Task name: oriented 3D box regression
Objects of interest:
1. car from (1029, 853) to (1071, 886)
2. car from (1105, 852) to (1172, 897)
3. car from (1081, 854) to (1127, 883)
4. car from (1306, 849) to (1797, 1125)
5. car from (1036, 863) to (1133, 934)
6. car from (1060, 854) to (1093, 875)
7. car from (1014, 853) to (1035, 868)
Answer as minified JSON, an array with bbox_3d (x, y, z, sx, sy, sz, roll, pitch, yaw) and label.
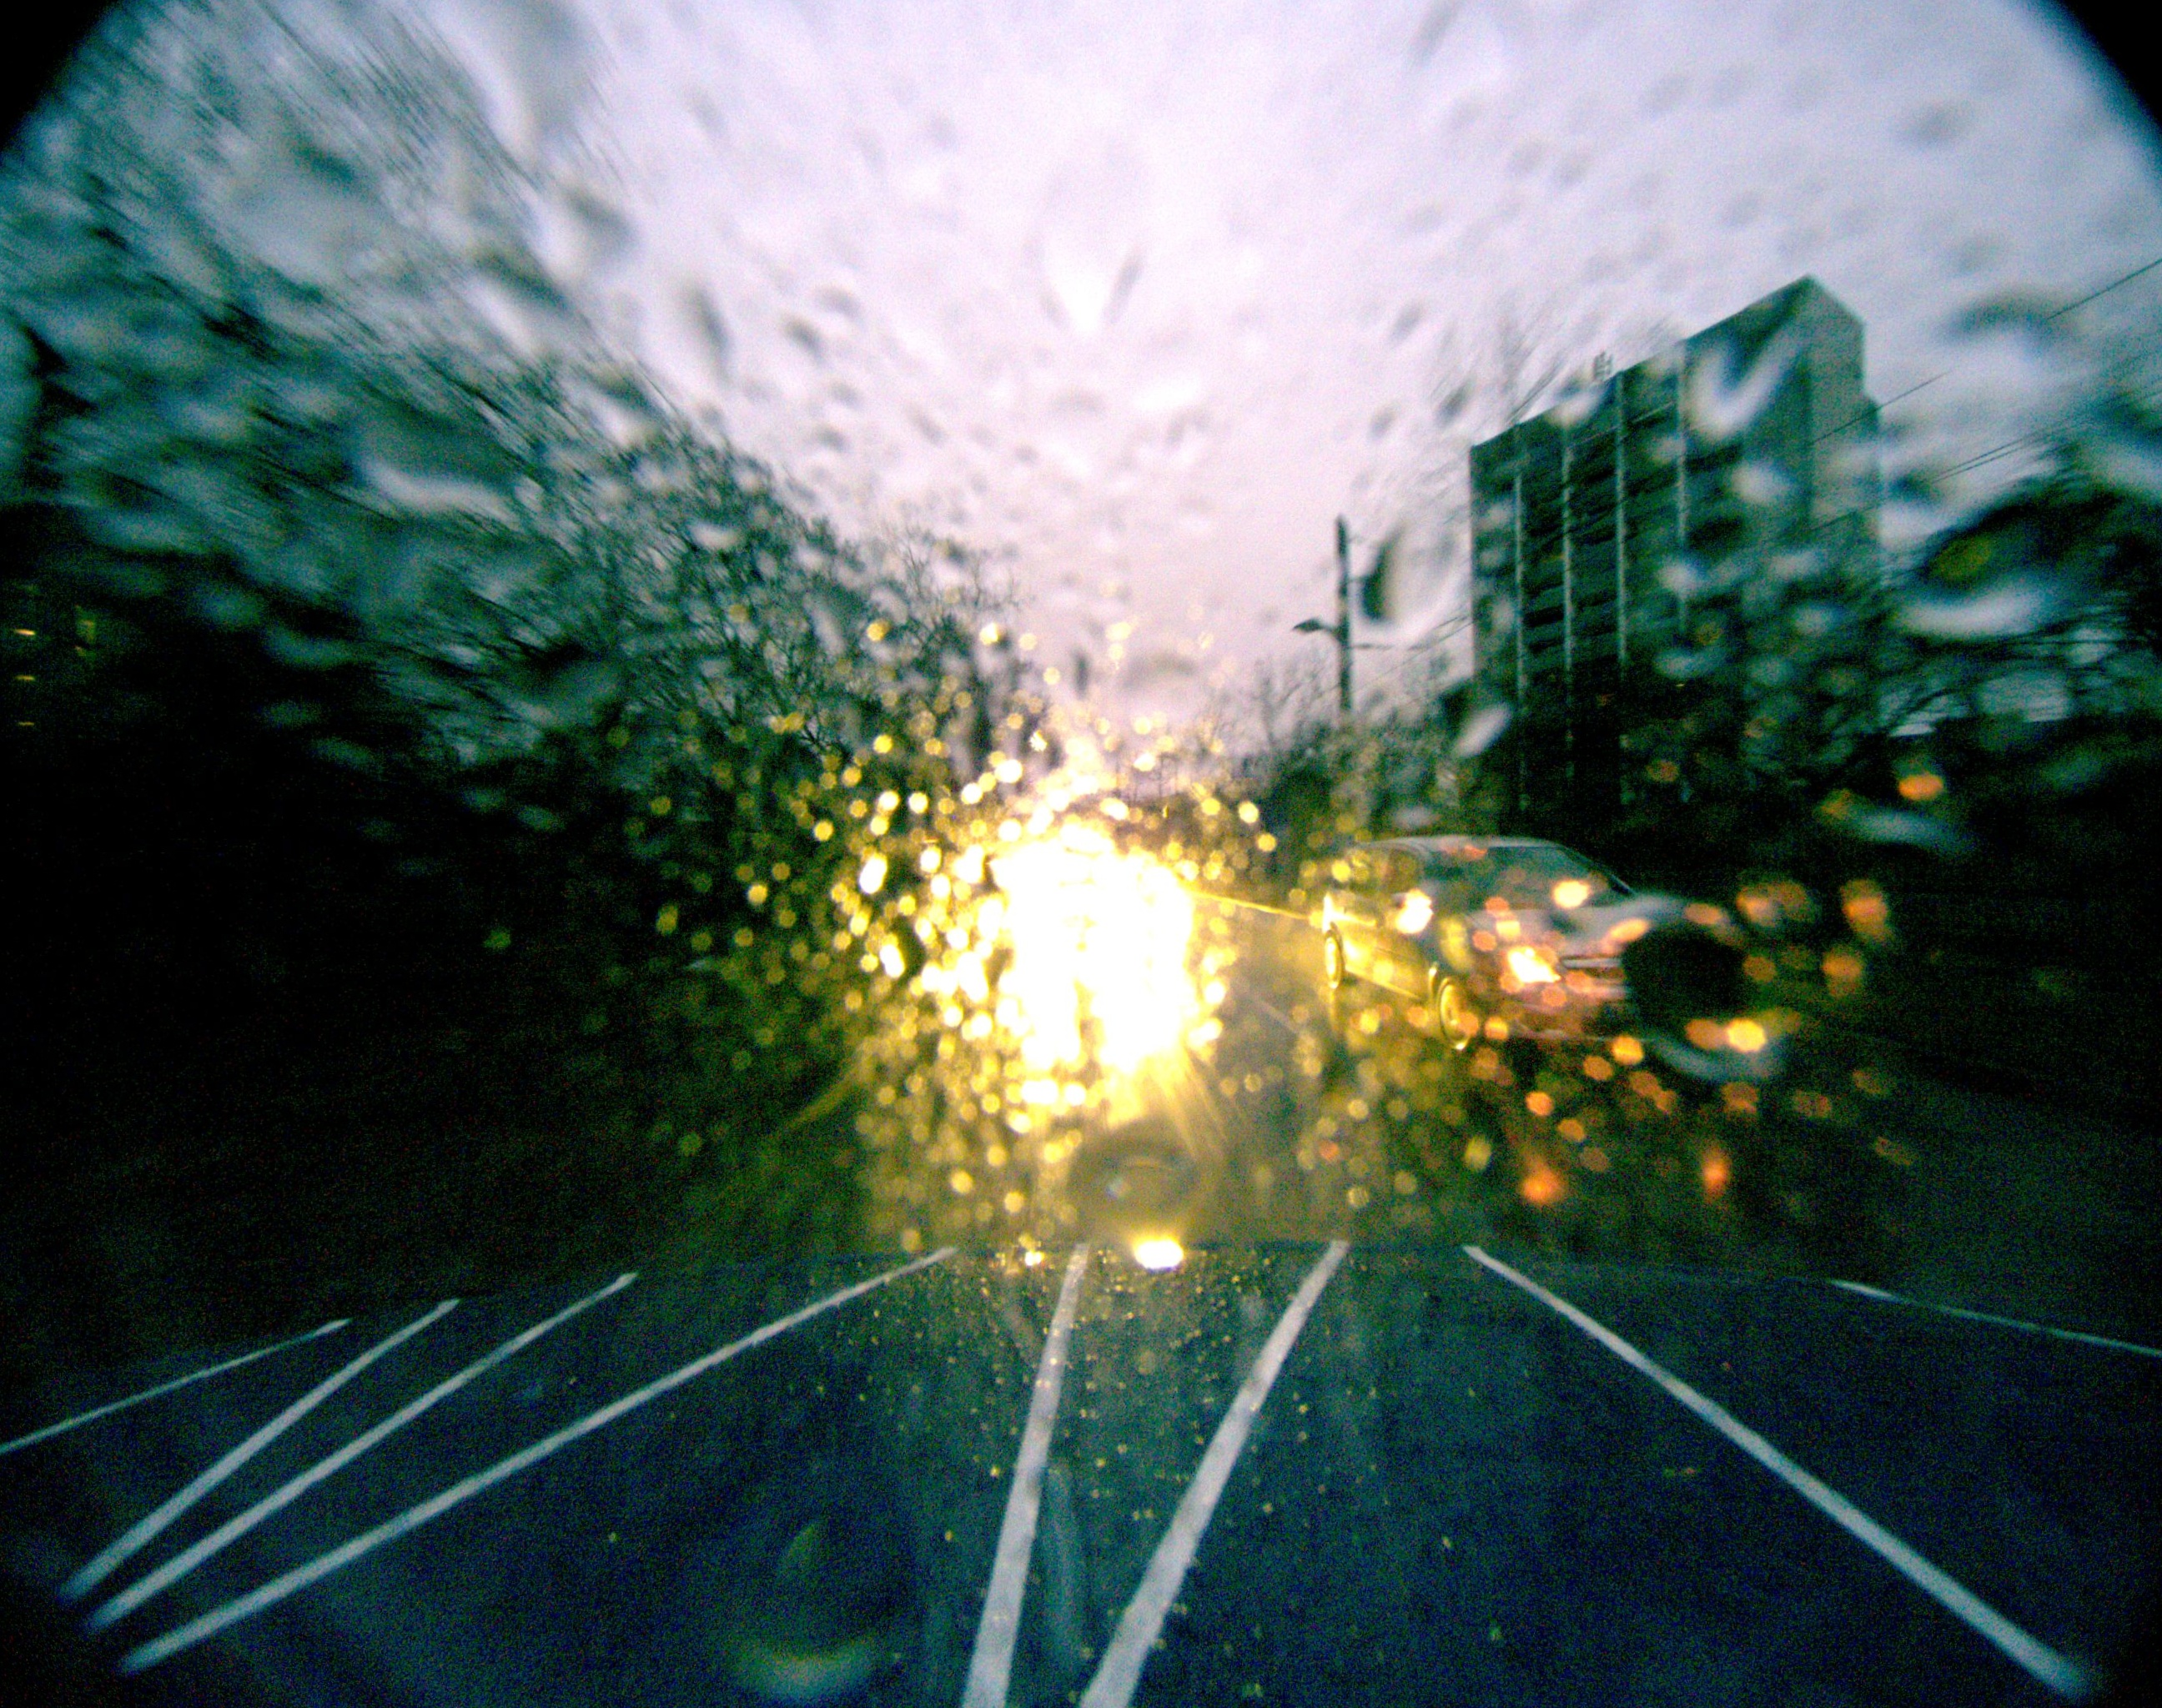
[{"bbox_3d":[-1.634,0.750,39.087,1.950,1.546,4.215,-2,0,-4],"label":"car"},{"bbox_3d":[2.166,0.749,29.752,1.924,1.546,4.215,-2,0,-5],"label":"car"},{"bbox_3d":[1.286,0.819,43.992,1.845,1.546,4.213,-2,0,-9],"label":"car"},{"bbox_3d":[3.372,0.784,6.458,1.669,1.566,3.922,-2,0,-1],"label":"car"},{"bbox_3d":[-0.047,0.911,17.191,1.897,1.347,4.288,-1,0,-4],"label":"car"},{"bbox_3d":[-0.405,0.811,60.971,1.951,1.546,4.213,-2,0,-10],"label":"car"},{"bbox_3d":[-6.376,0.725,85.114,1.951,1.546,4.214,-2,0,-9],"label":"car"}]
